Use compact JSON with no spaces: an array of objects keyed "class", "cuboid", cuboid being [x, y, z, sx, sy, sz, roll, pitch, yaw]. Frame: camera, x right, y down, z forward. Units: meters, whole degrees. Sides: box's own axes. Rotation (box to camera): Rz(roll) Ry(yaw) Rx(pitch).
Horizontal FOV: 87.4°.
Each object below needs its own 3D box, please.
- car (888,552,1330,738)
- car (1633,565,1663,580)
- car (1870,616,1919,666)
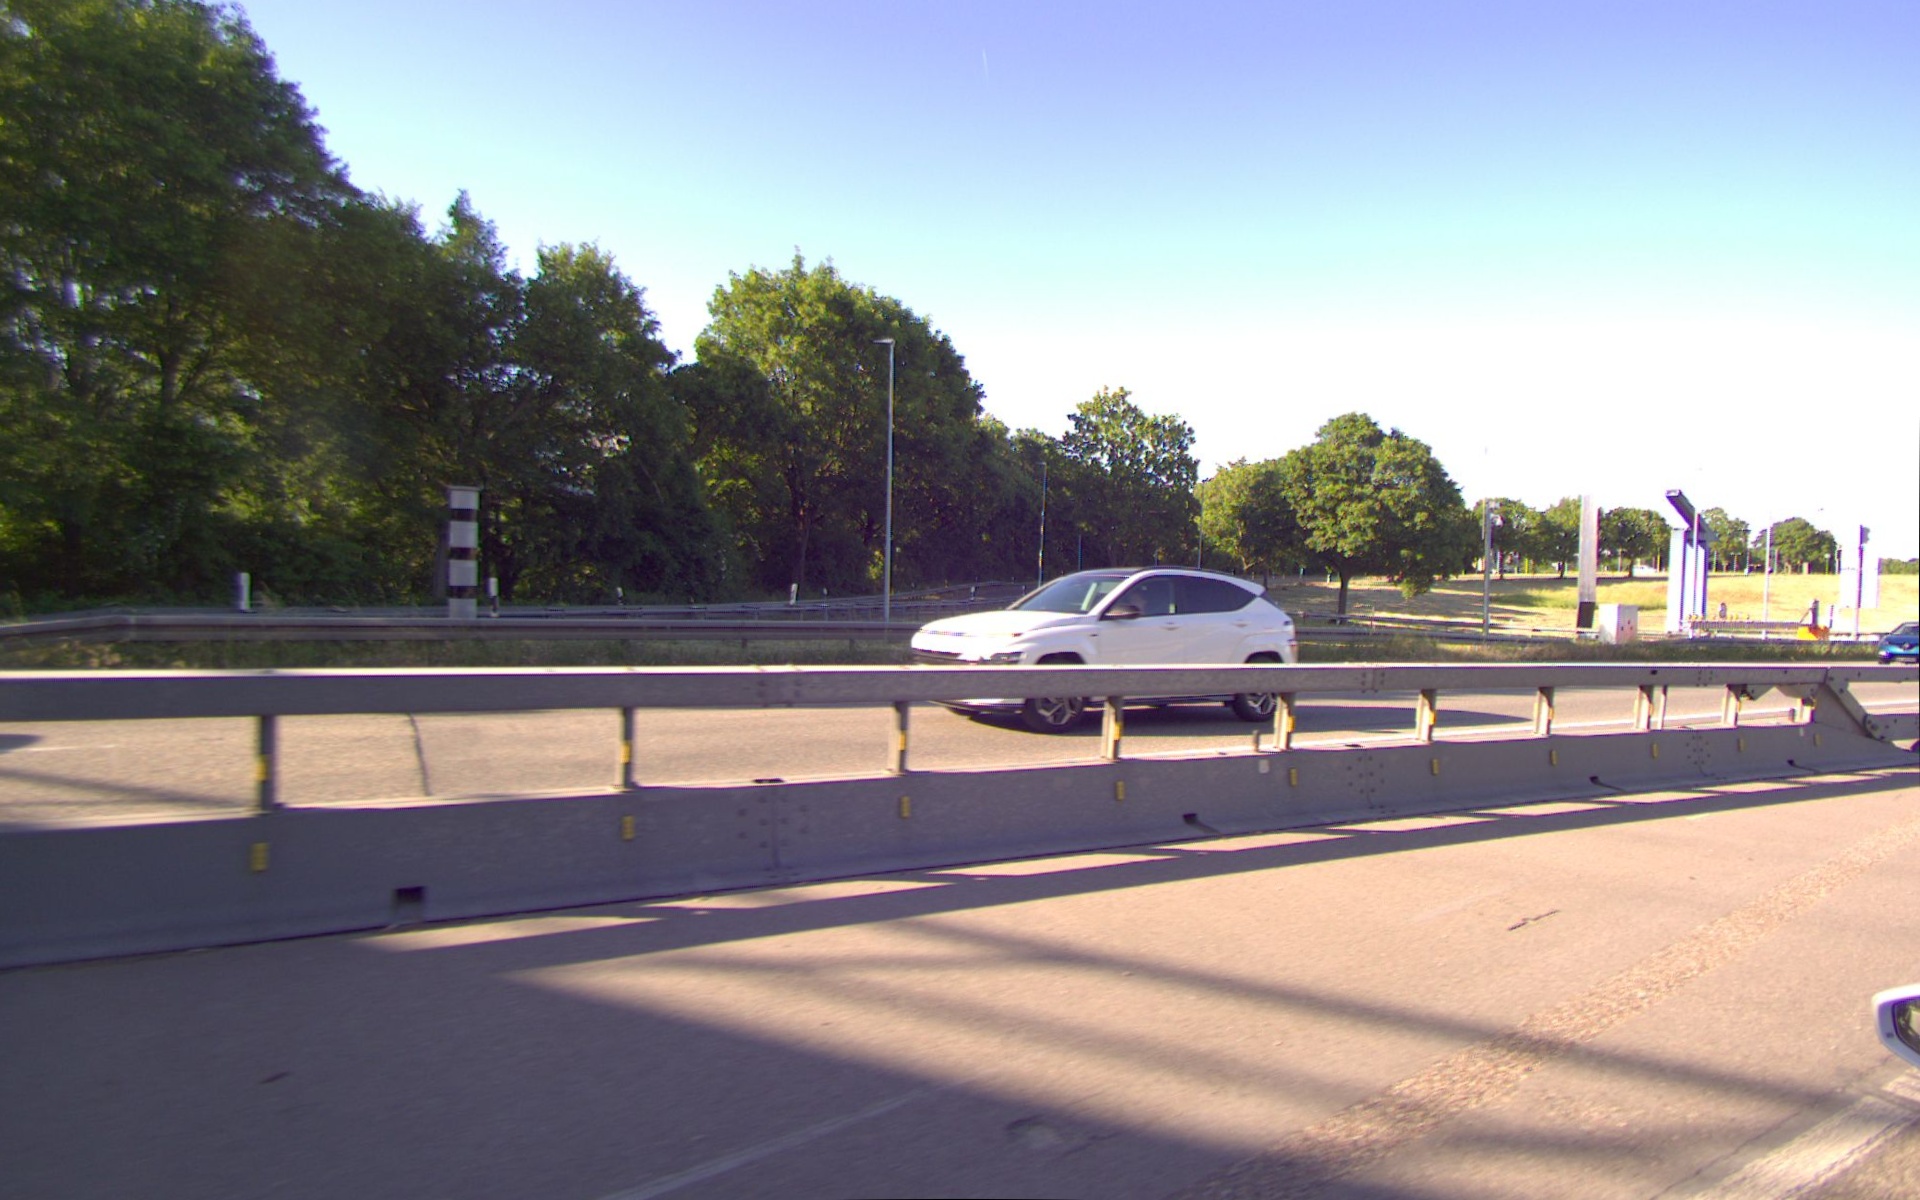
[{"class":"car","cuboid":[1.650,0.433,10.565,4.480,1.599,1.778,1,0,-31]},{"class":"car","cuboid":[131.796,-5.214,192.445,2.045,2.843,4.313,1,1,-12]},{"class":"car","cuboid":[32.628,1.385,33.989,4.274,1.593,1.663,2,0,-32]}]
